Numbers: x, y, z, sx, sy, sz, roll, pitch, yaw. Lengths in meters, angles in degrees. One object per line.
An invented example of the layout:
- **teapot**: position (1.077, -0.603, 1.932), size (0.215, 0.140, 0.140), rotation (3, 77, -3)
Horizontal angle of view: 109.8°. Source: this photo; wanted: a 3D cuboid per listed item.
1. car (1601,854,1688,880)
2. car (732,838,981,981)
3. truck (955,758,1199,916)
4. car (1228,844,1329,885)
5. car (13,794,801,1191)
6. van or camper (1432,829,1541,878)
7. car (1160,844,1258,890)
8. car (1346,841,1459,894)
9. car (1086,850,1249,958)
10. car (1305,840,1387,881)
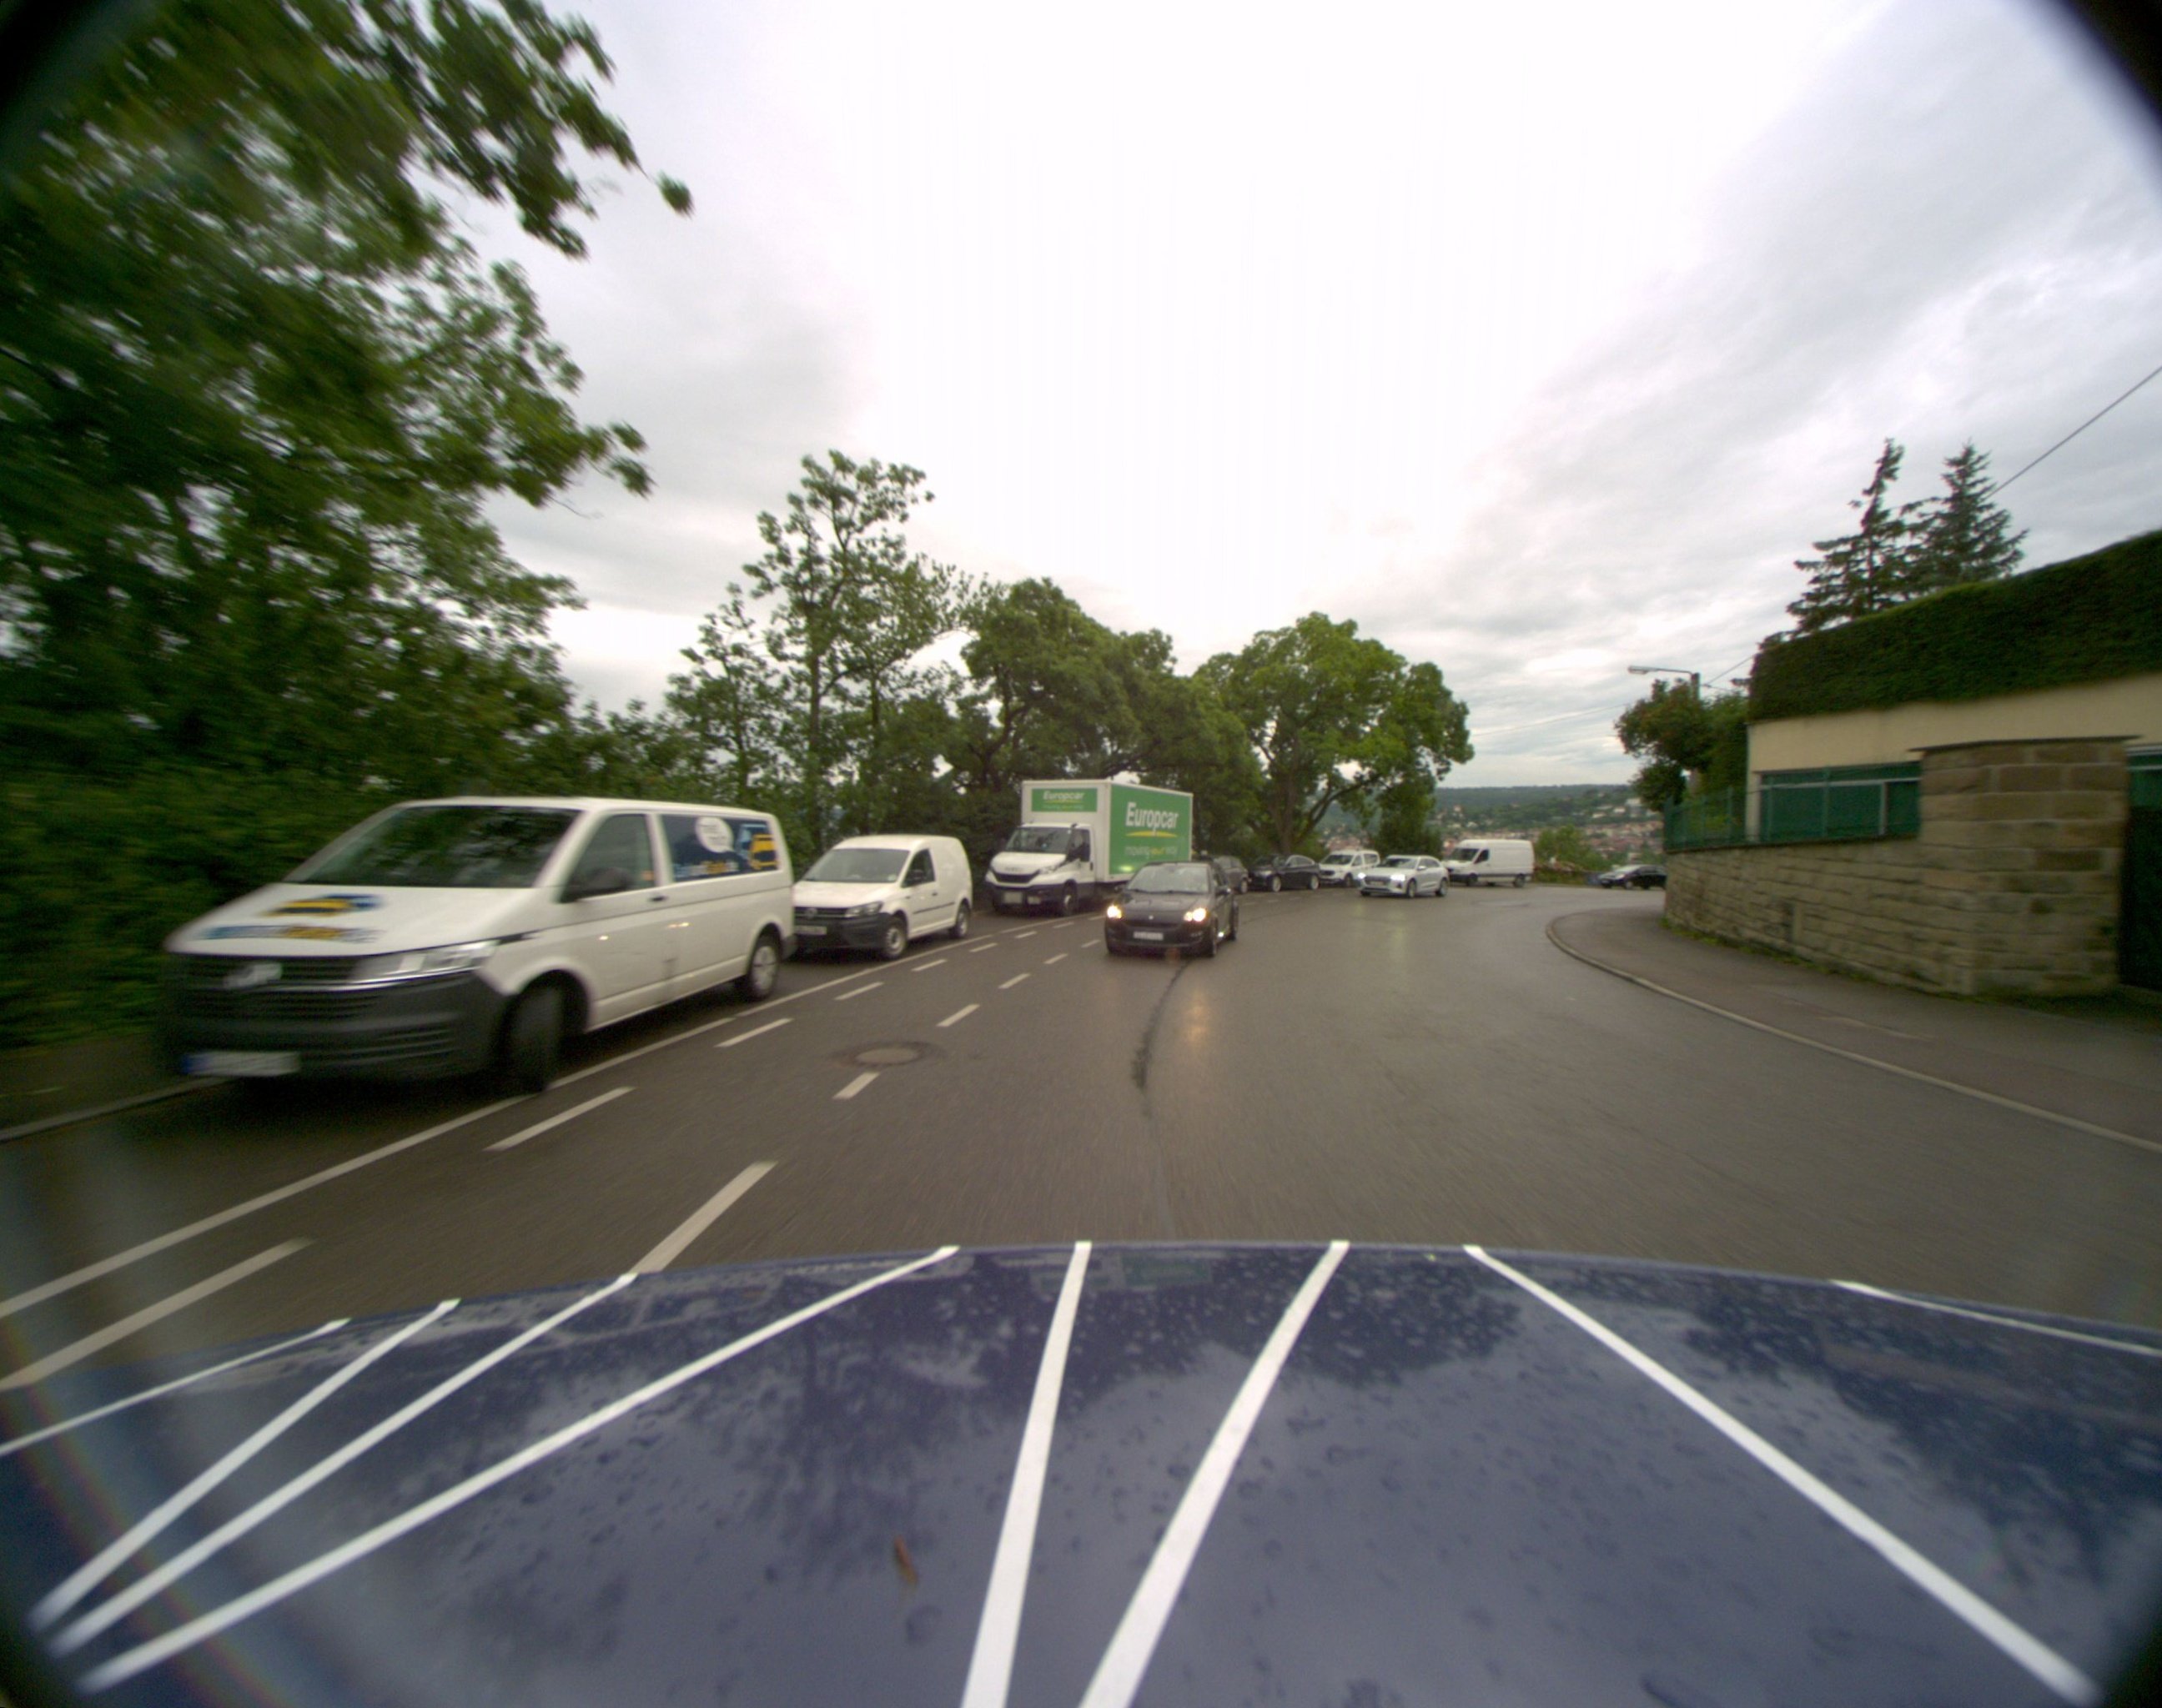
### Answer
- **car**: position (32.846, 0.742, 44.325), size (3.947, 1.436, 1.699), rotation (1, 1, -7)
- **car**: position (-3.208, 0.671, 11.966), size (1.863, 1.761, 4.381), rotation (0, 2, 12)
- **truck**: position (0.402, -0.510, 21.135), size (2.775, 3.451, 8.948), rotation (2, 2, 28)
- **car**: position (8.493, 0.381, 32.363), size (4.905, 1.534, 1.860), rotation (-1, 2, -44)
- **car**: position (-4.190, 0.626, 6.124), size (1.864, 1.937, 4.807), rotation (0, 1, 3)
- **van or camper**: position (22.473, -0.094, 42.104), size (5.894, 2.566, 2.069), rotation (-1, 3, -23)
- **car**: position (4.807, 0.424, 28.132), size (1.734, 1.495, 4.144), rotation (2, 3, 39)
- **car**: position (12.768, 0.450, 30.056), size (4.891, 1.699, 2.185), rotation (-3, 5, -42)
- **car**: position (1.661, 0.684, 12.960), size (1.781, 1.477, 4.411), rotation (1, 1, 19)
- **car**: position (12.666, 0.241, 36.230), size (4.432, 1.811, 1.747), rotation (-1, 3, -43)
